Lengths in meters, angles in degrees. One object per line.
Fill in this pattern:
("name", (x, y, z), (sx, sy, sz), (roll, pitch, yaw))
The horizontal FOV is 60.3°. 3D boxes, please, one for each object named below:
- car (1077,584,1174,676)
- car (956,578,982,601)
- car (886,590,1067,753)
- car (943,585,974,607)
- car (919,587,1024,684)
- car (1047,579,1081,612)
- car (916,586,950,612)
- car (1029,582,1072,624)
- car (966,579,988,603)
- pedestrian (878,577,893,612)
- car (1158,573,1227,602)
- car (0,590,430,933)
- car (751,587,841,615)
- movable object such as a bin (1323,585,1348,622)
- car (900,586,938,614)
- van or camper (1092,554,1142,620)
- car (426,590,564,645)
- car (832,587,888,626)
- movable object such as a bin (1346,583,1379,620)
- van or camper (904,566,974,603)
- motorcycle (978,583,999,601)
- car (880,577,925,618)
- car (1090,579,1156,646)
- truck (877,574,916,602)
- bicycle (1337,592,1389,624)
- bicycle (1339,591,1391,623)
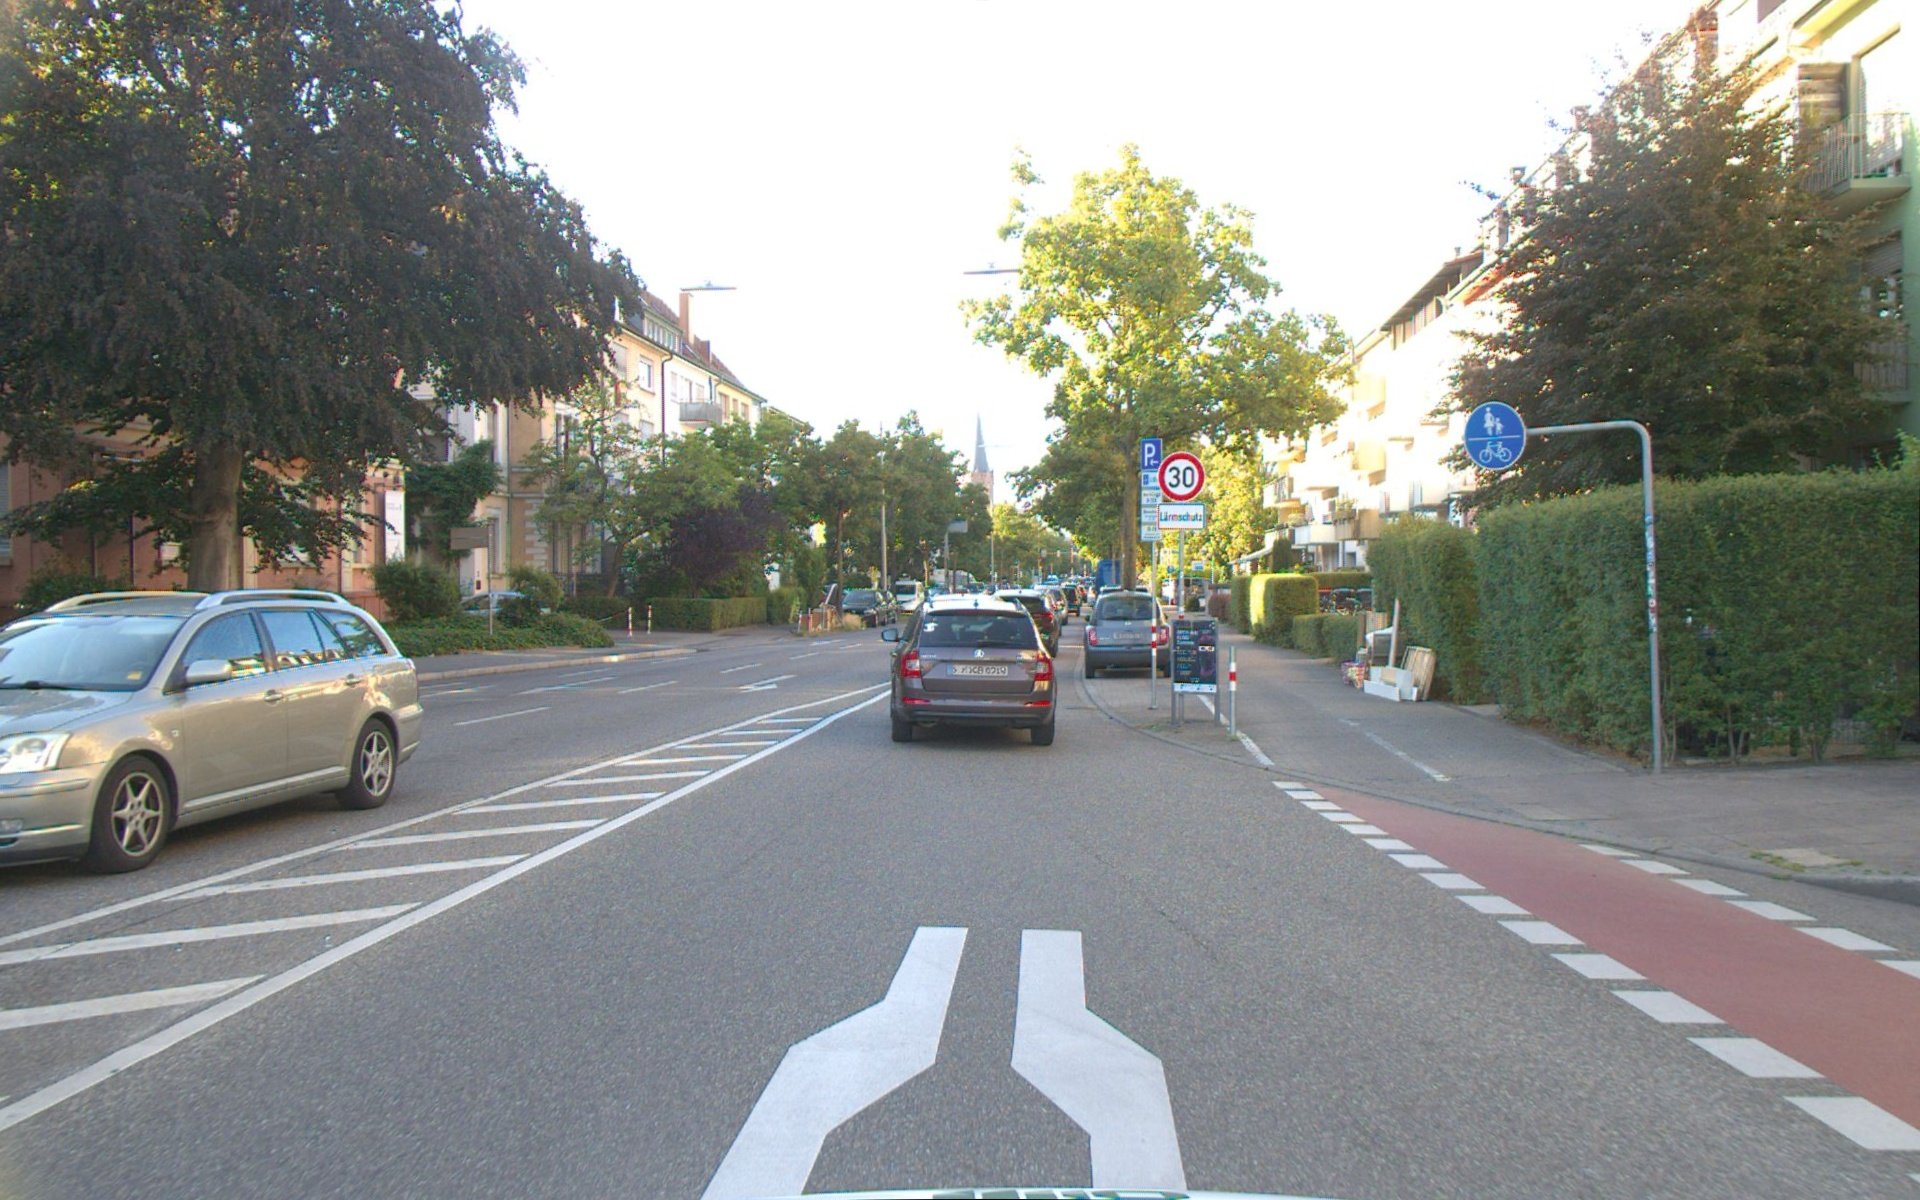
("car", (3.073, 0.508, 31.050), (1.696, 1.578, 3.648), (0, 1, 5))
("car", (0.731, -0.835, 128.146), (1.713, 1.771, 3.593), (0, 1, 5))
("car", (0.080, 0.680, 18.117), (1.695, 1.520, 3.948), (-1, 1, -4))
("car", (-0.069, -0.317, 114.979), (1.717, 1.445, 4.429), (0, 1, 5))
("car", (0.233, 0.559, 28.835), (1.694, 1.520, 3.952), (0, 1, 1))
("car", (5.521, -0.257, 87.167), (1.696, 1.680, 3.544), (0, 1, 5))
("car", (-1.685, -0.095, 103.508), (1.680, 1.523, 4.250), (0, 1, 5))
("car", (3.834, 0.107, 69.667), (1.696, 1.680, 3.544), (0, 1, 5))
("car", (1.386, -0.735, 132.779), (1.475, 1.788, 3.696), (0, 1, 5))
("pedestrian", (-4.383, -0.317, 97.881), (0.751, 2.049, 0.976), (0, 1, 4))
("car", (16.411, -0.899, 116.814), (4.471, 1.926, 1.901), (-1, 1, -23))
("car", (-5.028, 0.748, 10.102), (1.789, 1.541, 4.607), (0, 1, 4))
("car", (-8.608, 0.056, 86.778), (4.622, 1.386, 1.997), (-1, 1, -8))
("movable object such as a bin", (10.475, 0.102, 46.144), (0.569, 1.020, 0.797), (0, 1, 4))
("car", (-2.258, -0.018, 91.869), (1.680, 1.445, 3.789), (0, 1, 5))
("van or camper", (6.791, -0.540, 71.829), (2.024, 2.722, 5.993), (0, 0, 5))
("car", (-13.413, 0.497, 47.812), (3.425, 1.512, 1.816), (0, 1, 1))
("car", (-4.114, 0.237, 68.752), (1.713, 1.529, 4.199), (0, 1, 5))
("movable object such as a bin", (11.214, 0.046, 46.069), (0.759, 1.020, 0.797), (0, 1, 4))
("van or camper", (-2.304, -1.679, 179.805), (7.480, 3.942, 2.001), (0, 1, 3))
("motorcycle", (2.434, -0.725, 143.096), (0.759, 1.538, 2.003), (-1, 1, -37))
("car", (-2.917, -0.150, 84.334), (1.732, 1.952, 4.463), (0, 1, 5))
("car", (4.388, 0.293, 44.904), (1.696, 1.680, 4.294), (0, 1, 5))
("truck", (-4.987, -0.968, 129.997), (2.852, 2.130, 1.547), (0, 1, 4))
("bicycle", (11.039, 0.217, 45.323), (1.330, 0.868, 0.365), (0, 1, 5))
("bicycle", (10.991, 0.186, 44.868), (1.341, 0.868, 0.369), (0, 1, 6))
